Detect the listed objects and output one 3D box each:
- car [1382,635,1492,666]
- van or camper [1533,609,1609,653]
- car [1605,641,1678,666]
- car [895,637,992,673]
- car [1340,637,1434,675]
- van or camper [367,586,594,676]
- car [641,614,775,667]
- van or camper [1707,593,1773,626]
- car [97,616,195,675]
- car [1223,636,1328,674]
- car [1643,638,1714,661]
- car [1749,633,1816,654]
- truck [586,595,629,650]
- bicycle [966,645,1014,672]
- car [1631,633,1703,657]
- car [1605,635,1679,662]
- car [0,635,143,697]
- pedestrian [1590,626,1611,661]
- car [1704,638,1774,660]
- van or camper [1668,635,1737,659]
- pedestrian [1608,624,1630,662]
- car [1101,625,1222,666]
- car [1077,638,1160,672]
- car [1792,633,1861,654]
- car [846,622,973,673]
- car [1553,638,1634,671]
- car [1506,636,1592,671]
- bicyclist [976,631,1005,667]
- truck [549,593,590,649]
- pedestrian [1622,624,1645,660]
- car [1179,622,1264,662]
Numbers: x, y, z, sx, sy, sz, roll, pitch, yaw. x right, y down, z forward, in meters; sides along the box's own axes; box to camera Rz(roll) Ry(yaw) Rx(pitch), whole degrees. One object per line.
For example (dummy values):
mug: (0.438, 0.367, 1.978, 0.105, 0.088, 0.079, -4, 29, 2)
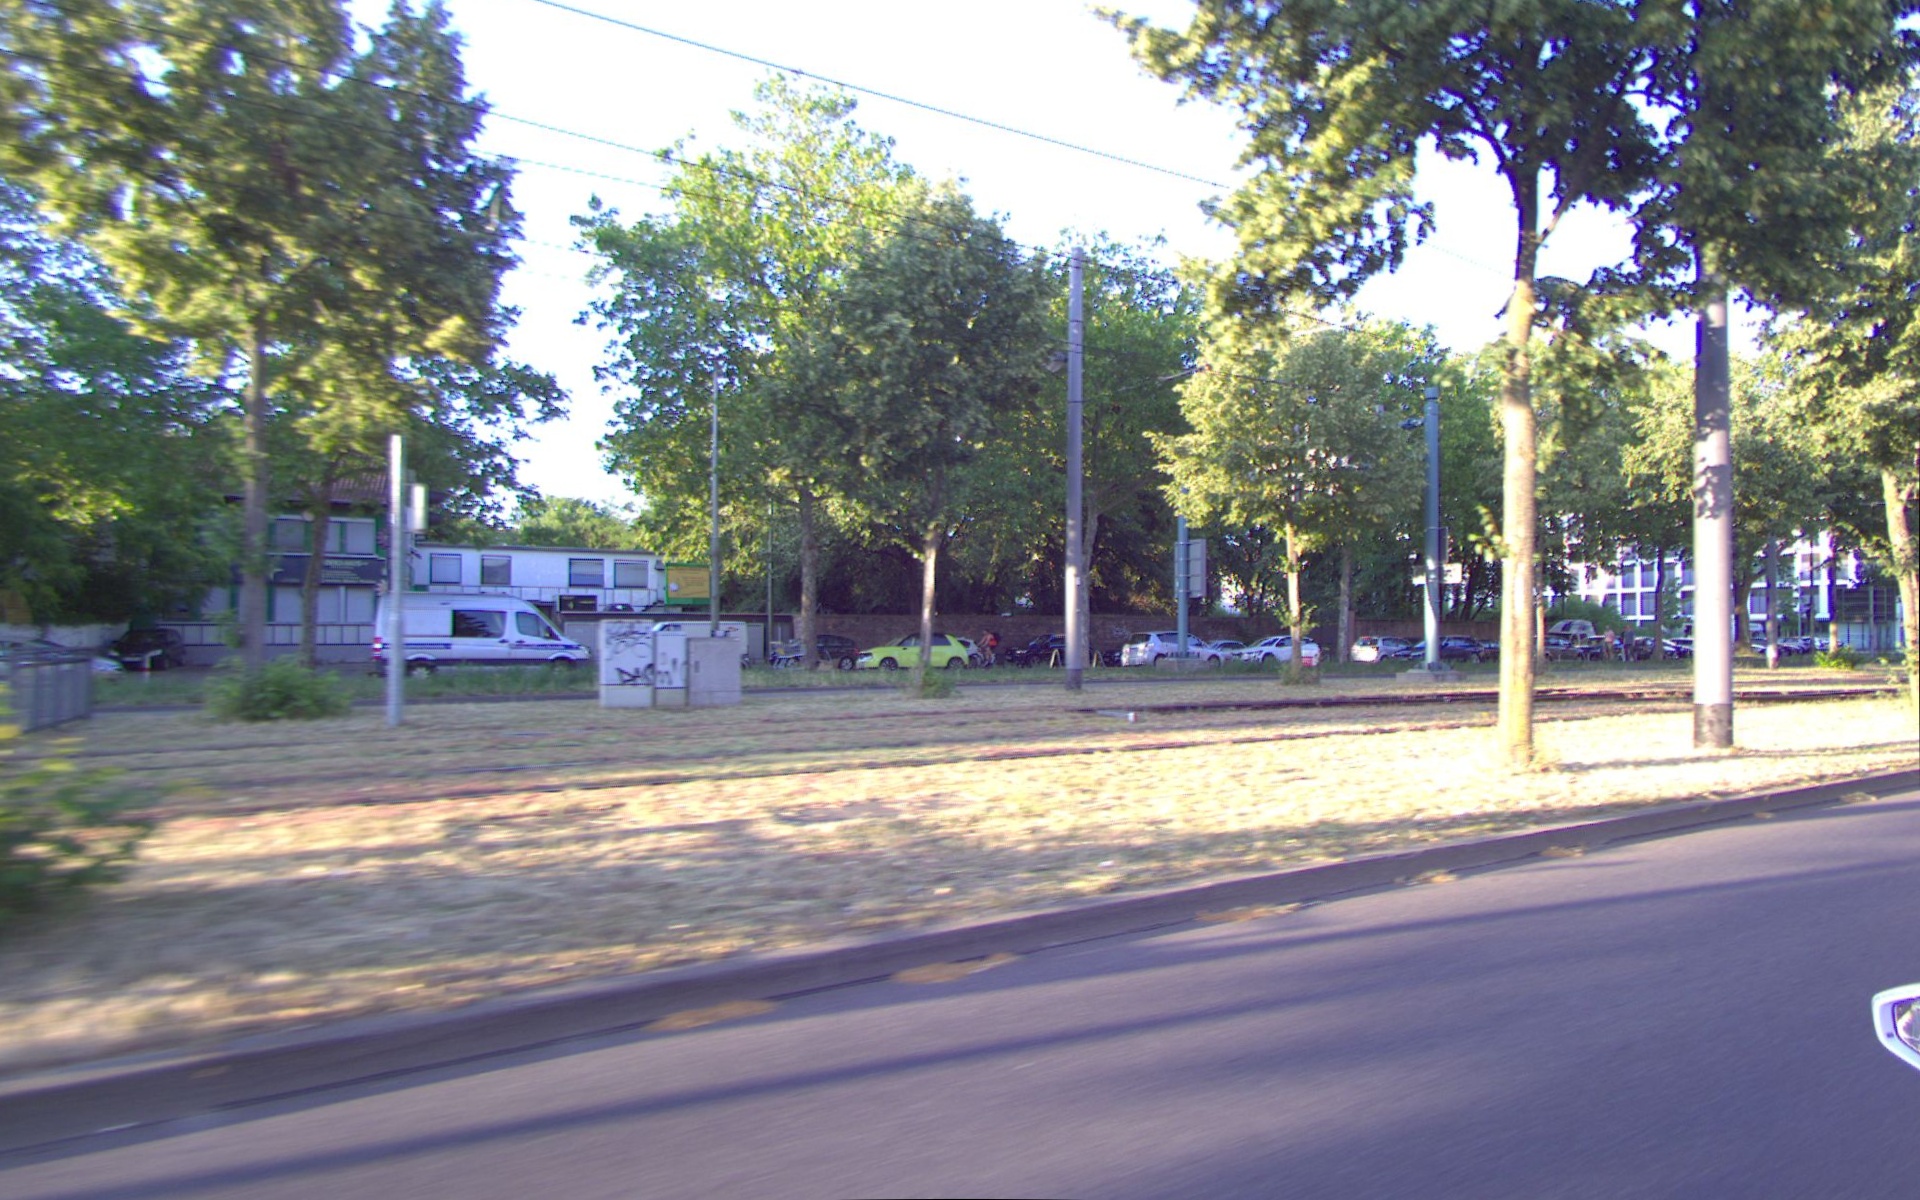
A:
car: (22.227, 2.342, 46.773, 5.075, 1.332, 1.987, 1, -2, -27)
van or camper: (40.275, 2.059, 66.170, 5.434, 2.771, 2.074, 2, -2, -32)
car: (49.730, 3.889, 73.366, 1.898, 1.661, 3.971, 1, -2, -28)
car: (-0.734, 2.451, 45.291, 3.997, 1.511, 1.854, 1, -2, -27)
car: (20.826, 2.702, 48.995, 4.104, 1.773, 1.988, 1, -2, -25)
van or camper: (-13.750, 0.912, 29.126, 5.705, 2.396, 2.277, 1, -2, -26)
car: (-10.256, 1.625, 40.915, 4.993, 2.040, 1.987, 1, -2, -27)
van or camper: (75.955, 0.976, 97.840, 6.180, 3.126, 2.701, 1, -1, -27)
car: (-29.794, 1.624, 36.896, 1.975, 2.040, 3.972, 1, -2, -27)
car: (13.346, 2.302, 42.483, 4.255, 1.519, 1.891, 2, -2, -30)
car: (54.523, 3.728, 76.300, 1.901, 1.661, 3.964, 1, -2, -33)
car: (68.833, 3.651, 84.071, 1.901, 1.661, 3.964, 1, -2, -33)
truck: (-23.924, 1.545, 67.996, 2.259, 3.565, 6.655, 1, -2, -23)
bicycle: (1.324, 2.546, 43.870, 1.989, 1.105, 0.729, 1, -2, -25)
car: (52.268, 3.288, 74.283, 1.901, 1.661, 3.964, 1, -2, -33)
car: (40.458, 2.863, 59.594, 3.949, 1.505, 1.986, 1, -2, -27)
car: (-24.098, 1.680, 26.143, 4.048, 1.520, 1.985, 2, -2, -29)
pedestrian: (32.593, 2.222, 51.112, 0.858, 1.782, 0.688, 2, -2, -38)
car: (62.347, 3.923, 80.459, 1.895, 1.661, 3.979, 1, -2, -23)
van or camper: (57.245, 3.599, 77.490, 1.984, 1.814, 3.954, 2, -2, -40)
pedestrian: (33.263, 2.168, 50.722, 0.858, 1.895, 0.688, 2, -2, -38)
car: (7.939, 1.793, 39.527, 4.502, 1.518, 1.985, 2, -2, -30)
car: (7.875, 2.730, 49.948, 3.789, 1.617, 1.759, 1, -2, -27)
car: (72.107, 3.621, 83.610, 1.901, 1.661, 3.964, 1, -2, -33)
car: (-1.735, 1.603, 34.700, 3.952, 1.661, 1.985, 1, -2, -30)
car: (35.664, 3.049, 56.518, 4.736, 1.773, 1.984, 2, -2, -31)
car: (31.396, 2.852, 53.534, 4.104, 1.773, 1.988, 1, -2, -25)
bicyclist: (1.319, 2.124, 43.872, 1.070, 1.553, 0.726, 1, -2, -25)
truck: (-26.117, 1.433, 67.024, 2.259, 3.565, 6.655, 1, -2, -23)
pedestrian: (33.371, 2.091, 49.766, 0.857, 1.766, 0.689, 1, -2, -32)
car: (13.570, 2.163, 52.169, 3.944, 2.040, 1.989, 1, -2, -24)
